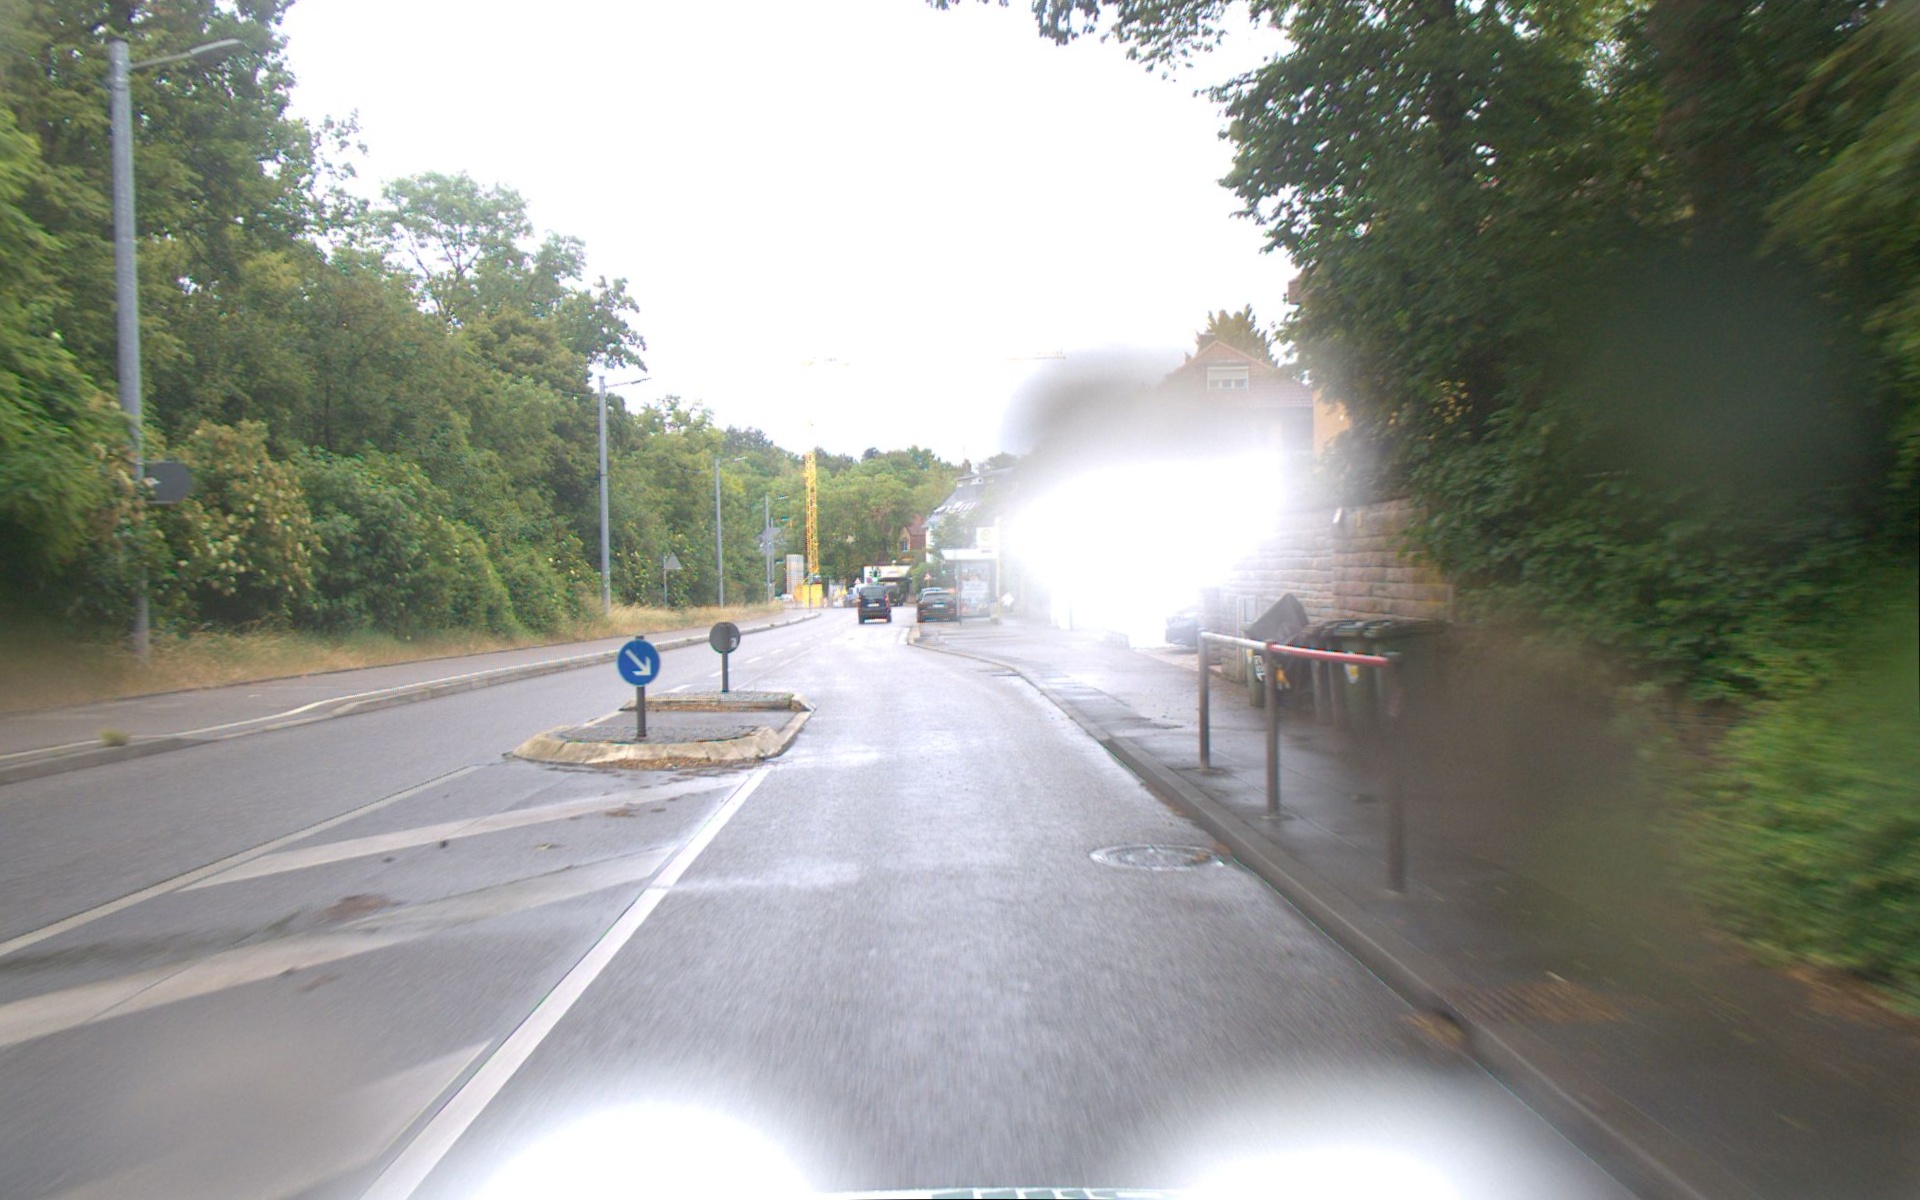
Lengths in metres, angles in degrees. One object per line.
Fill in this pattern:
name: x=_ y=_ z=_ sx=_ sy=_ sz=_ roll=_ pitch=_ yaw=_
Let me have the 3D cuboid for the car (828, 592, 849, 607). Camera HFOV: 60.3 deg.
car: x=-13.701 y=-0.077 z=186.725 sx=1.711 sy=1.579 sz=3.841 roll=1 pitch=0 yaw=-15

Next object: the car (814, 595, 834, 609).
car: x=-15.803 y=0.245 z=192.405 sx=1.711 sy=1.579 sz=3.841 roll=0 pitch=0 yaw=-15

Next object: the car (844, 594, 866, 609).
car: x=-11.490 y=0.190 z=180.958 sx=1.711 sy=1.579 sz=3.841 roll=0 pitch=0 yaw=-15

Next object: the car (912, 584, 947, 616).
car: x=-1.756 y=0.004 z=94.493 sx=1.953 sy=1.803 sz=4.113 roll=0 pitch=0 yaw=-1

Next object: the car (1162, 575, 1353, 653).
car: x=6.179 y=0.275 z=34.609 sx=3.694 sy=1.580 sz=1.608 roll=0 pitch=0 yaw=-3

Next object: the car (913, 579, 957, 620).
car: x=-1.139 y=-0.029 z=75.938 sx=1.953 sy=1.803 sz=4.113 roll=0 pitch=0 yaw=-1

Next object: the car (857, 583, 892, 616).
car: x=-4.321 y=-0.028 z=83.846 sx=1.634 sy=1.621 sz=3.682 roll=0 pitch=0 yaw=-1
